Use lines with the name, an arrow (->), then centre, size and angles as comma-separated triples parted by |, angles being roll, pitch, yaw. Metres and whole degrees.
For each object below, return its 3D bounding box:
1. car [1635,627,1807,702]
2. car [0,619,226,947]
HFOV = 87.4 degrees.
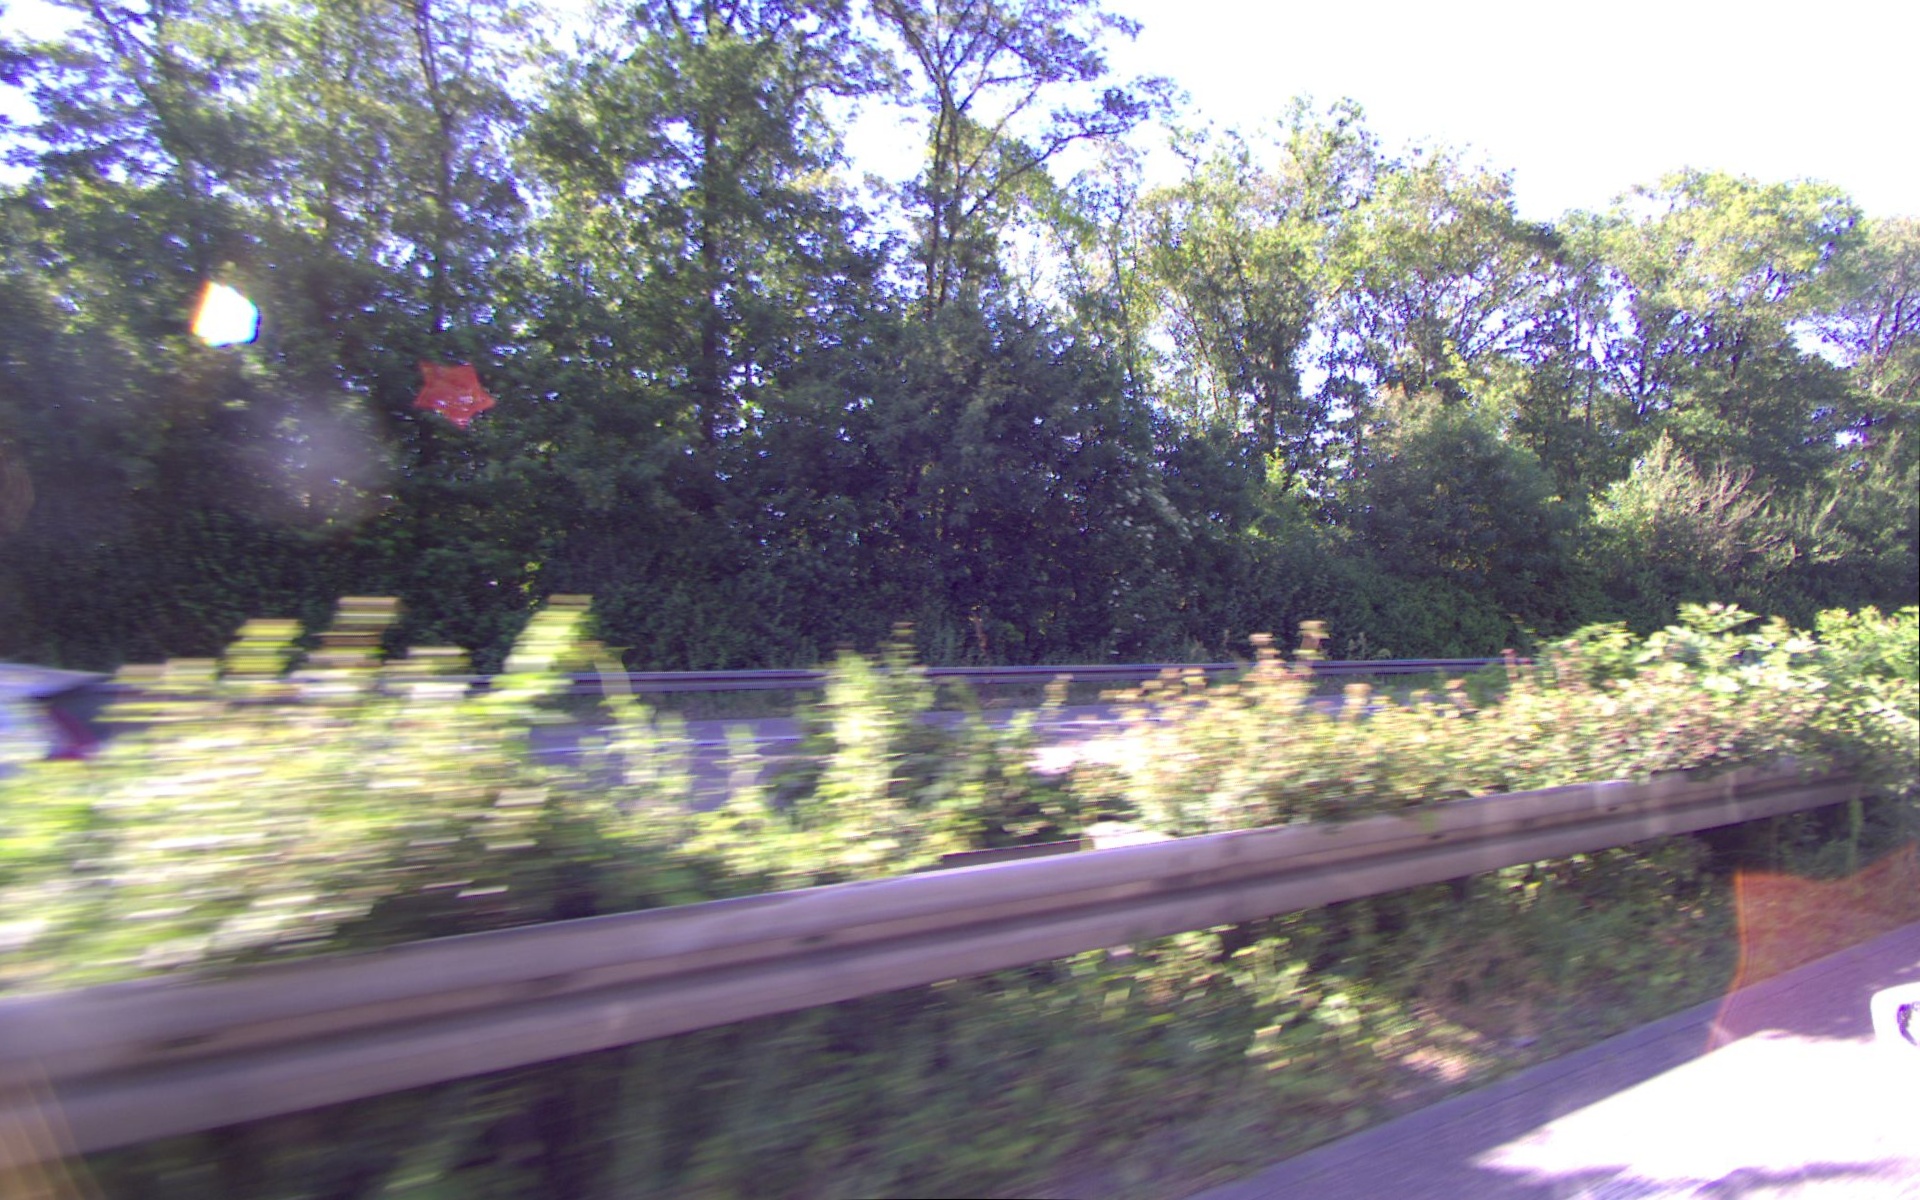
car -> 17.905, 1.468, 23.602 | 3.953, 1.595, 1.838 | 2, 0, -30
car -> -6.639, 0.915, 5.072 | 4.532, 1.626, 1.704 | 2, 0, -30
